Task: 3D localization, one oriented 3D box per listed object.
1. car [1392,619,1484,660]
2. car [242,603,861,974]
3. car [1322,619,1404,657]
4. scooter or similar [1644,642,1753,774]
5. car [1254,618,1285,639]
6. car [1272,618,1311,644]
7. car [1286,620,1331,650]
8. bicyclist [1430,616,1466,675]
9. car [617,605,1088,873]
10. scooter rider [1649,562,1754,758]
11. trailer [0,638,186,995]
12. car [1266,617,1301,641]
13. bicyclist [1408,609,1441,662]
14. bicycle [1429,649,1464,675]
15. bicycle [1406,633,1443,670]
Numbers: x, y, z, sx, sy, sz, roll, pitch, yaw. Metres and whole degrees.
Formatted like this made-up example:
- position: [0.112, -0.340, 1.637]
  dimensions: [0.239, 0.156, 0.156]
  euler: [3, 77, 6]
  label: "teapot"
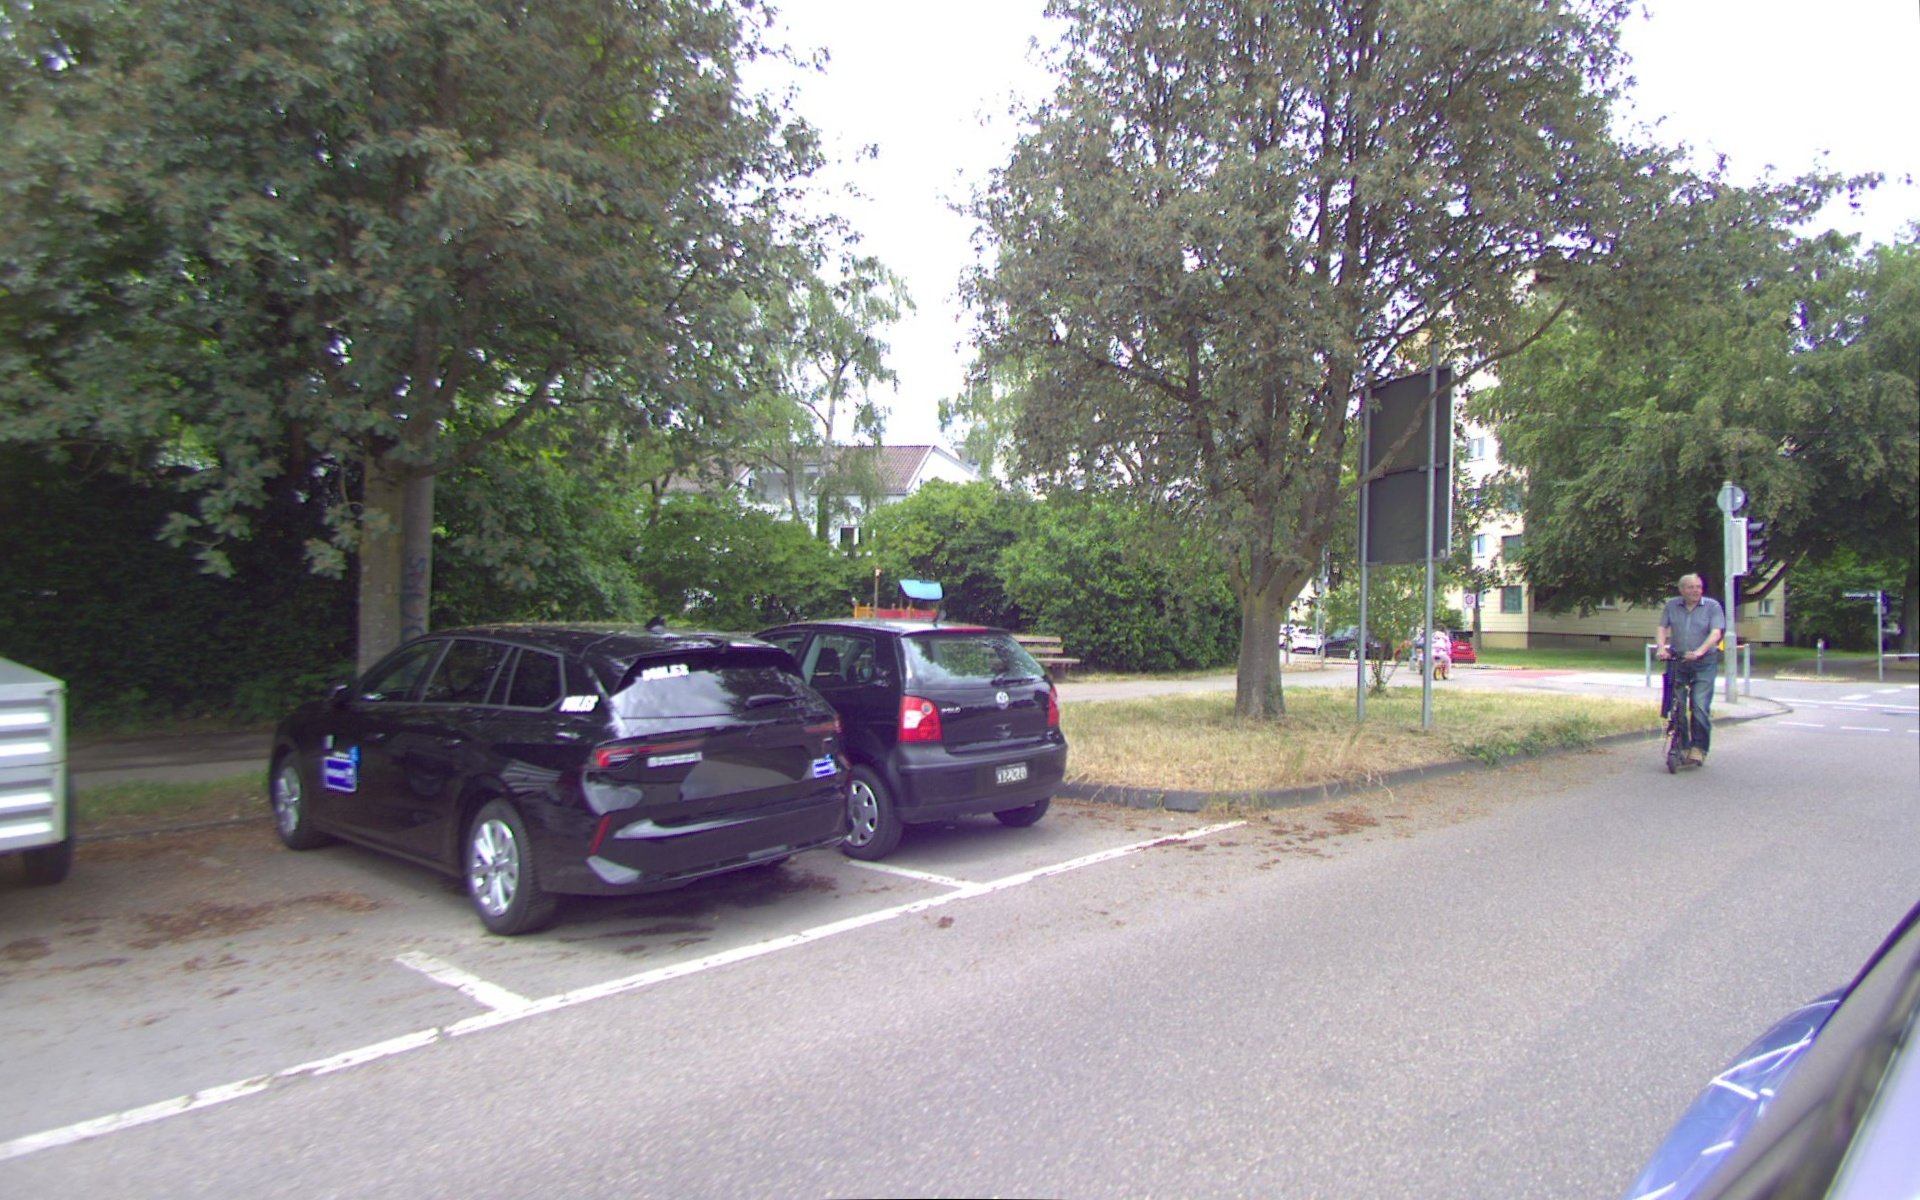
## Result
- position: [19.031, 1.567, 40.382]
  dimensions: [1.661, 1.526, 2.924]
  euler: [3, -3, -27]
  label: "car"
- position: [-2.613, 0.789, 5.988]
  dimensions: [4.125, 1.495, 1.555]
  euler: [-1, -1, 38]
  label: "car"
- position: [17.854, 1.668, 45.036]
  dimensions: [1.782, 1.612, 3.829]
  euler: [0, -2, -7]
  label: "car"
- position: [7.120, 0.996, 9.737]
  dimensions: [0.681, 1.154, 1.437]
  euler: [-1, -3, 43]
  label: "scooter or similar"
- position: [22.875, 2.082, 74.925]
  dimensions: [1.768, 1.430, 4.056]
  euler: [1, 0, 12]
  label: "car"
- position: [19.672, 1.822, 60.190]
  dimensions: [1.768, 1.372, 4.056]
  euler: [1, 0, 12]
  label: "car"
- position: [18.633, 1.834, 54.209]
  dimensions: [1.768, 1.452, 4.056]
  euler: [1, 0, 12]
  label: "car"
- position: [10.233, 0.945, 21.219]
  dimensions: [0.516, 1.202, 0.955]
  euler: [1, -2, 35]
  label: "bicyclist"
- position: [-0.982, 0.817, 7.562]
  dimensions: [1.550, 1.495, 3.717]
  euler: [2, -2, -44]
  label: "car"
- position: [7.158, 0.561, 9.763]
  dimensions: [0.681, 1.753, 1.178]
  euler: [-1, -3, 43]
  label: "scooter rider"
- position: [-5.104, 0.876, 4.753]
  dimensions: [3.395, 1.283, 1.594]
  euler: [-1, 0, 39]
  label: "trailer"
- position: [20.872, 1.833, 65.438]
  dimensions: [1.768, 1.430, 4.056]
  euler: [1, 0, 12]
  label: "car"
- position: [10.619, 0.806, 23.130]
  dimensions: [0.636, 1.177, 0.795]
  euler: [0, -1, 30]
  label: "bicyclist"
- position: [10.204, 1.311, 21.204]
  dimensions: [0.516, 0.504, 0.976]
  euler: [1, -3, 35]
  label: "bicycle"
- position: [10.603, 1.150, 23.084]
  dimensions: [0.636, 0.768, 1.663]
  euler: [0, -1, 29]
  label: "bicycle"
